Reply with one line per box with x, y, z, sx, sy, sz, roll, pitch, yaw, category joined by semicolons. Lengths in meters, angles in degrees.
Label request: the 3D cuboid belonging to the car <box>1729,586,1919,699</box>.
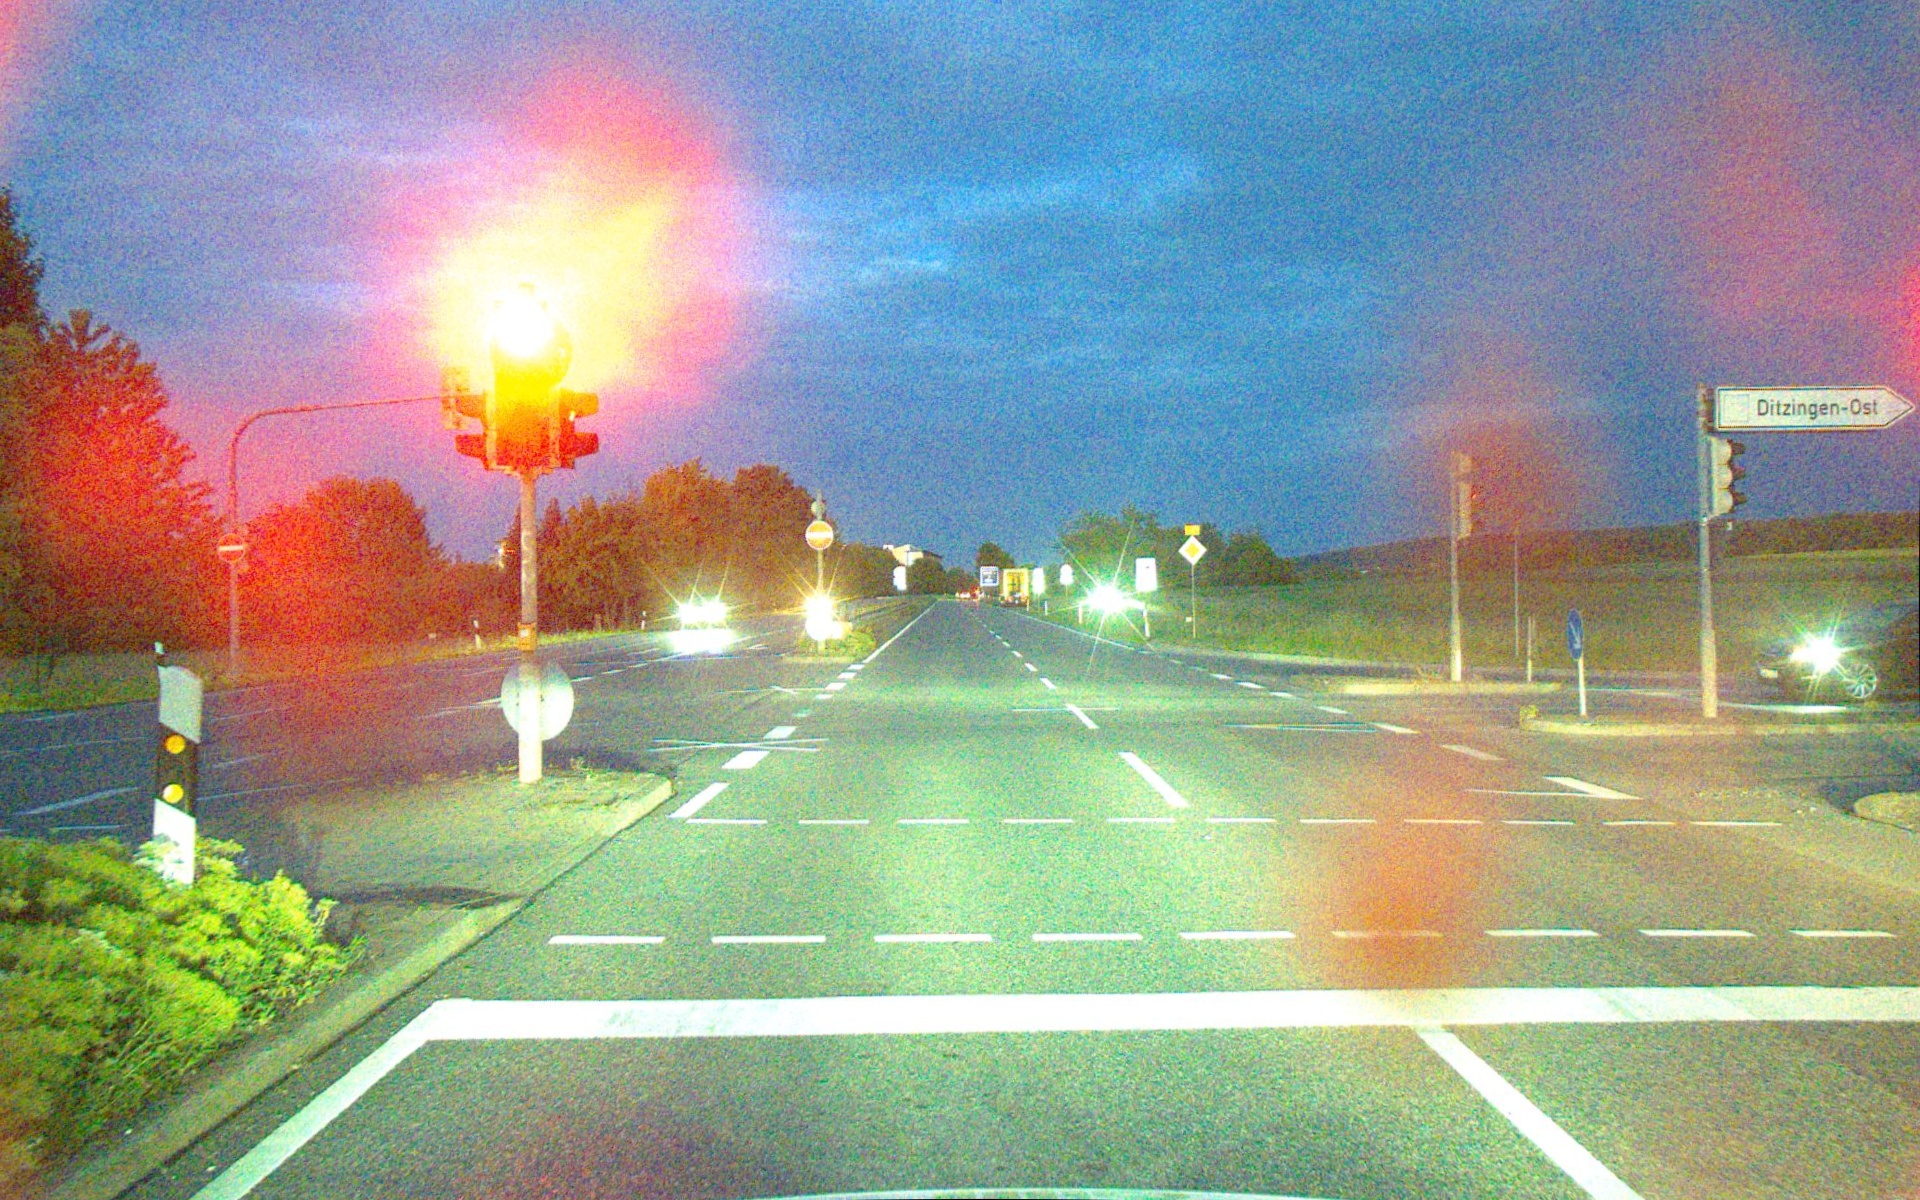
14.236;0.578;24.765;4.507;1.547;2.000;-2;0;0;car

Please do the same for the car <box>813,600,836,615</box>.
-13.227;0.718;161.165;1.953;1.411;3.999;-1;0;-1;car

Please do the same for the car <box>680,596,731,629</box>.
-12.817;0.608;83.486;1.953;1.545;4.297;-1;0;-1;car
